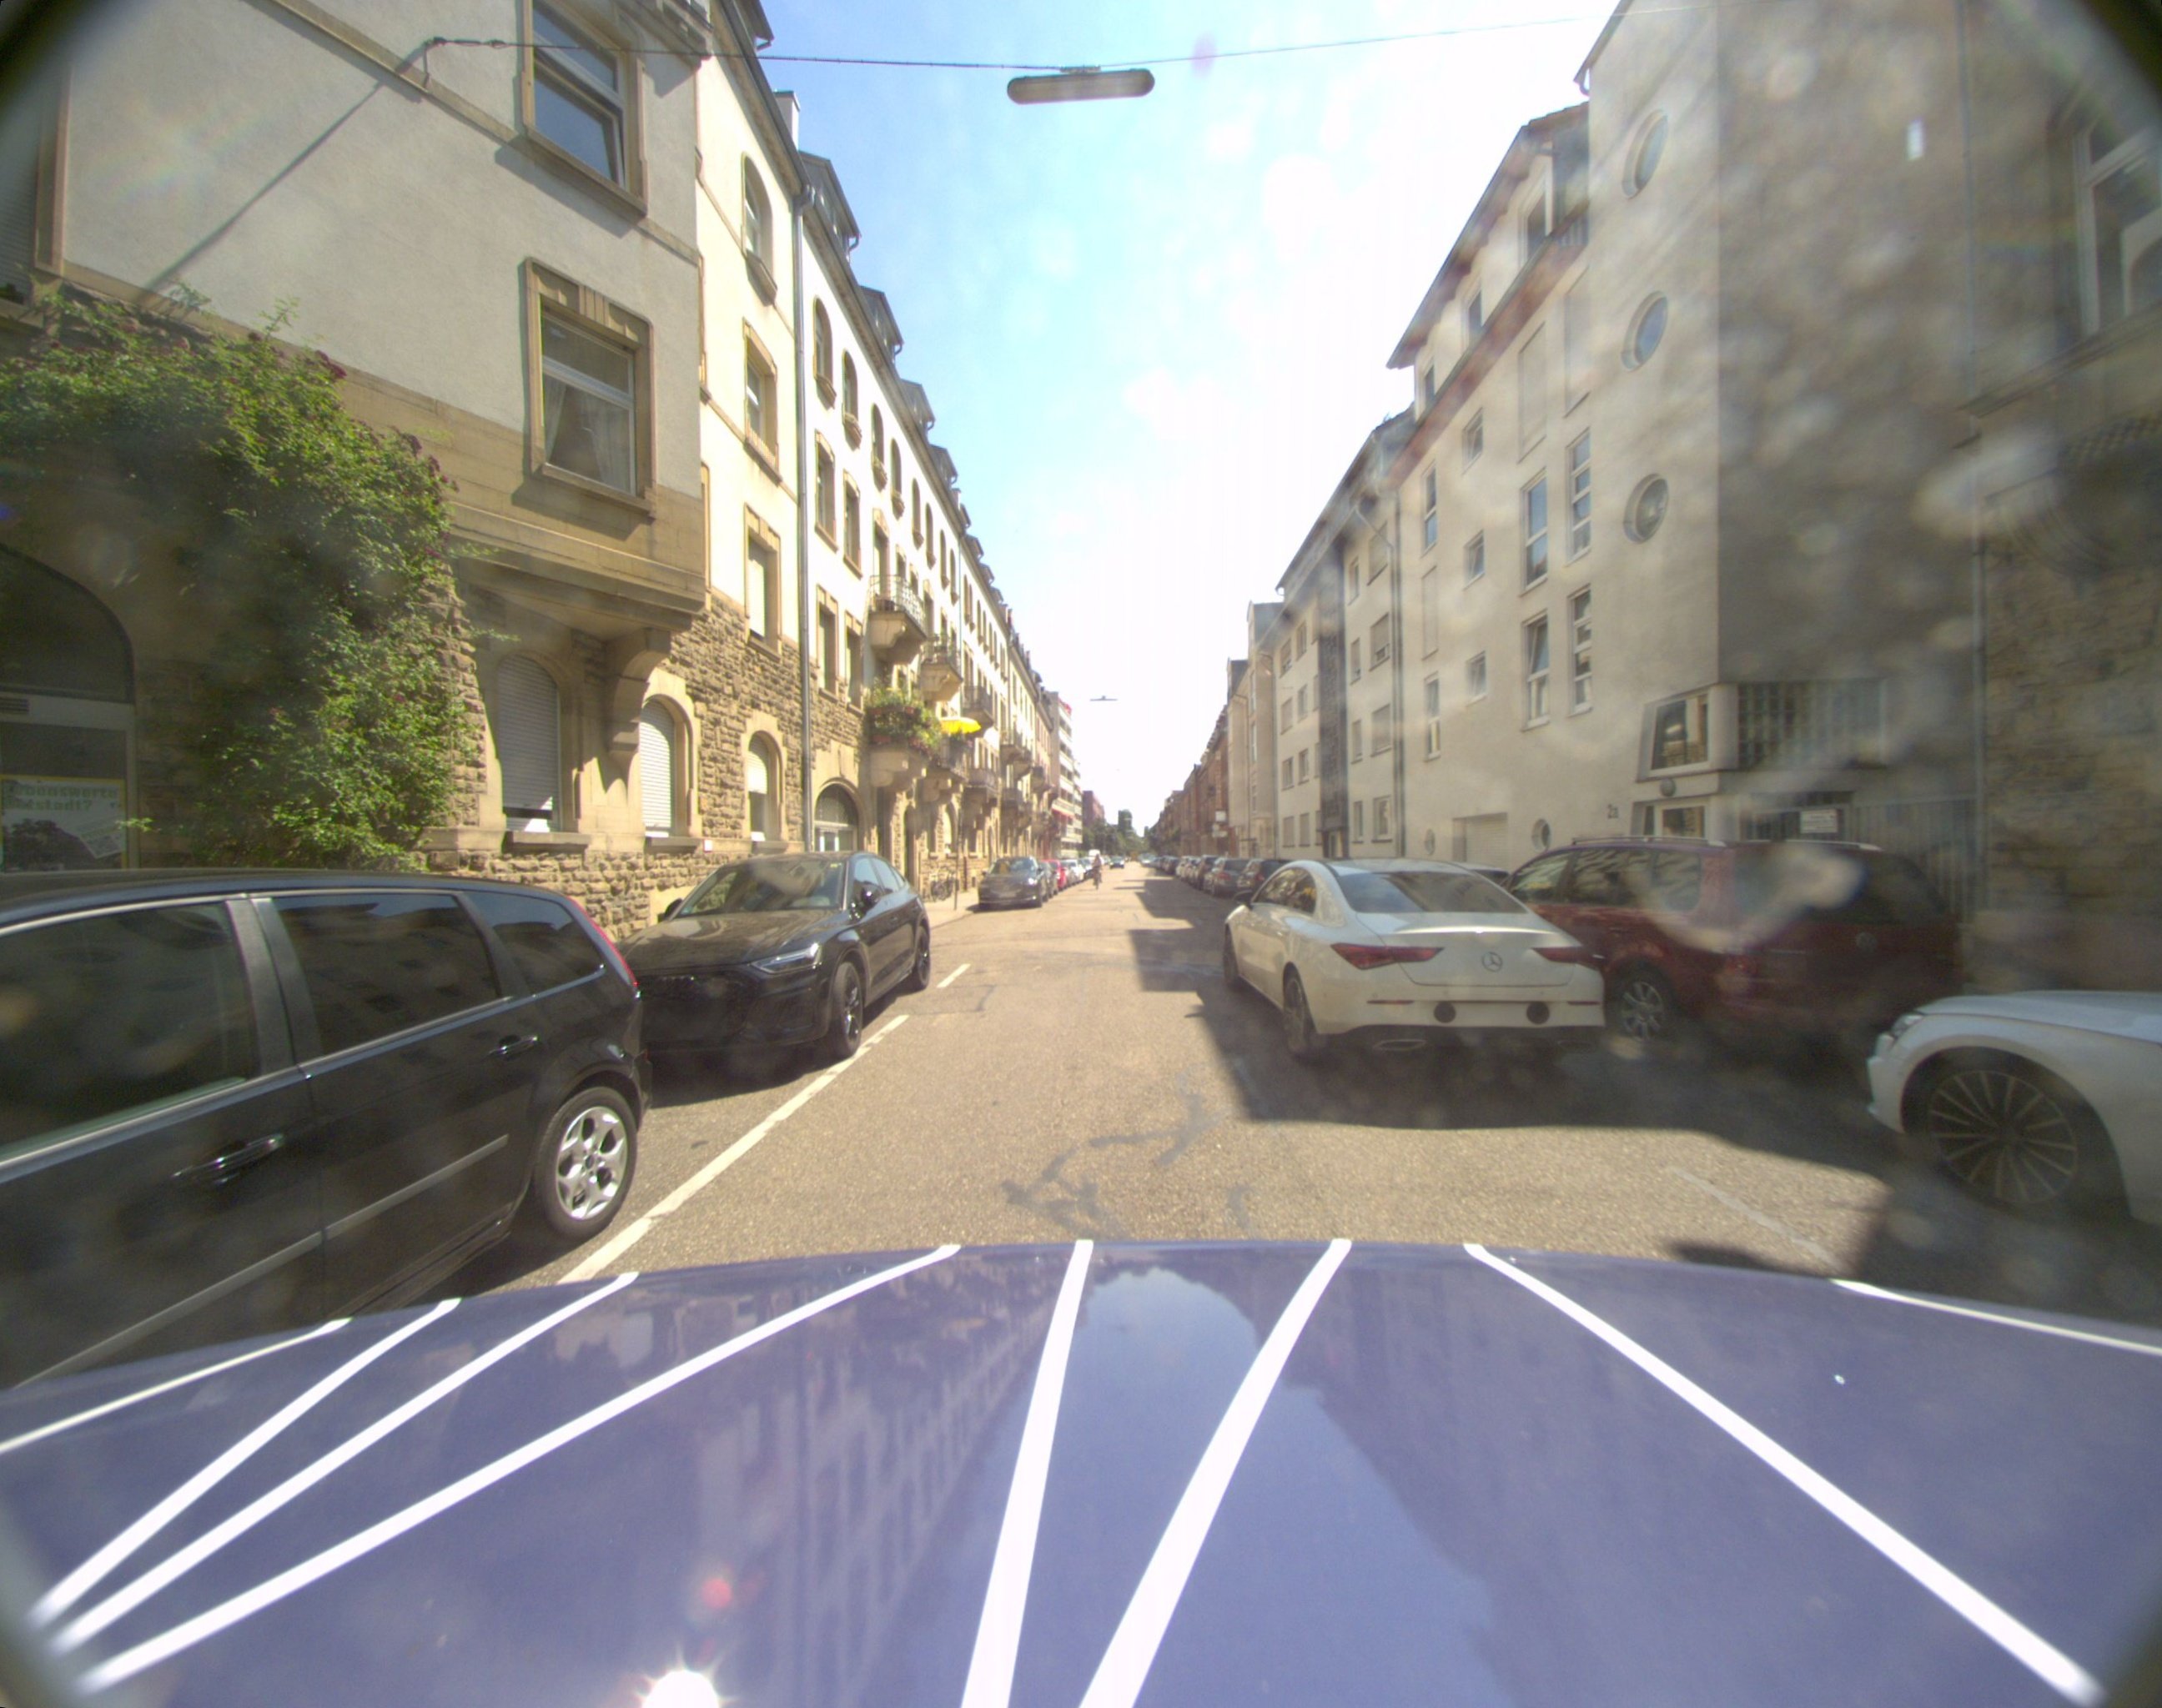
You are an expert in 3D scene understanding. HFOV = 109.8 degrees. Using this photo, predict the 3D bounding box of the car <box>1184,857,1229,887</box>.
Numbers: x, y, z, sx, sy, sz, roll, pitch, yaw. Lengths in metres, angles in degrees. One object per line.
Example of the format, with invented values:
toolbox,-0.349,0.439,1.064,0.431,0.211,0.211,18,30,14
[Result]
car,6.518,0.895,39.784,1.769,1.385,4.349,1,1,2

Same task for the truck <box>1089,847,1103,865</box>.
truck,2.267,0.247,115.117,1.869,2.715,4.508,0,1,4

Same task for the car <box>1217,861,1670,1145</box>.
car,2.390,0.847,6.402,1.845,1.452,4.362,1,1,2

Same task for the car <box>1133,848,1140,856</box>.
car,14.942,-0.473,203.959,1.784,2.002,4.002,-1,0,6

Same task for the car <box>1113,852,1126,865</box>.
car,5.001,0.540,98.446,1.624,1.600,3.598,0,1,3

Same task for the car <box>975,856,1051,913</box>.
car,-2.063,0.894,24.445,1.837,1.558,4.605,-3,0,2

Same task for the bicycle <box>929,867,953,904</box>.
bicycle,-4.879,1.075,26.499,0.385,1.201,1.775,0,1,4

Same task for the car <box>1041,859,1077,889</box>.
car,-1.143,1.039,41.409,1.593,1.444,3.856,-3,0,3

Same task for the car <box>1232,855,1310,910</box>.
car,5.800,0.811,23.626,1.571,1.483,3.894,1,1,2

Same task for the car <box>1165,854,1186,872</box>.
car,8.611,0.810,69.428,1.632,1.421,3.679,3,1,5

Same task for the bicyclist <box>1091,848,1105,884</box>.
bicyclist,0.784,0.564,35.194,0.644,1.640,0.622,0,1,4

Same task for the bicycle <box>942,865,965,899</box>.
bicycle,-4.843,1.056,28.928,0.442,1.201,1.775,0,1,4

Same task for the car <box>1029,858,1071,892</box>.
car,-1.435,0.956,36.310,1.574,1.444,3.843,-3,0,3

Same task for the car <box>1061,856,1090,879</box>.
car,-0.328,0.893,52.155,1.740,1.449,4.669,0,1,3

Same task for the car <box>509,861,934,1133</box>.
car,-2.700,0.928,6.994,1.740,1.587,4.347,-3,0,0

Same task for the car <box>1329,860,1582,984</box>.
car,5.388,0.872,11.662,1.781,1.451,4.279,1,1,1

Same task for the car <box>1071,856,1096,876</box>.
car,0.236,0.862,58.094,1.828,1.423,4.490,-1,0,1

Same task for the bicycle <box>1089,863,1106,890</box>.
bicycle,0.793,1.011,35.161,0.671,1.169,2.095,0,1,4

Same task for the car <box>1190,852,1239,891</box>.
car,5.991,0.737,34.486,1.607,1.634,3.977,1,1,2

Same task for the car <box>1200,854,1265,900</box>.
car,5.675,0.811,28.962,1.660,1.510,4.671,1,1,2

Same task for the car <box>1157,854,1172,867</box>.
car,9.847,0.786,89.747,1.449,1.391,3.527,3,1,4

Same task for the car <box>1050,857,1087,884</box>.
car,-0.701,0.951,46.625,1.720,1.444,4.598,-3,0,5

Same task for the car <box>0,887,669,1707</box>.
car,-2.918,0.977,1.593,1.667,1.531,4.178,-3,0,1

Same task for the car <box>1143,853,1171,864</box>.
car,10.632,0.653,106.486,3.995,1.422,1.678,0,1,5

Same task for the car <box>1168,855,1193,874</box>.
car,8.377,0.894,64.209,1.781,1.421,3.838,3,1,5

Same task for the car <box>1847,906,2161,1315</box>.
car,4.631,0.966,1.473,1.706,1.345,4.515,1,1,0

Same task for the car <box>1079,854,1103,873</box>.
car,0.952,0.808,68.756,1.651,1.613,4.094,0,1,8

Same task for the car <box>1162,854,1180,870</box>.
car,9.292,0.783,78.622,1.450,1.464,3.526,3,1,2

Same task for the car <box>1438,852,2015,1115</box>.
car,4.960,0.801,6.753,1.676,1.574,4.052,1,1,1

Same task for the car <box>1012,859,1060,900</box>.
car,-1.732,0.974,30.297,1.516,1.390,3.972,-3,0,1

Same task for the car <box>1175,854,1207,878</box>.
car,7.675,0.819,53.442,1.632,1.540,3.853,3,1,0

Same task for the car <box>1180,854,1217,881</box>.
car,7.115,0.770,46.440,1.734,1.486,4.349,2,1,2
